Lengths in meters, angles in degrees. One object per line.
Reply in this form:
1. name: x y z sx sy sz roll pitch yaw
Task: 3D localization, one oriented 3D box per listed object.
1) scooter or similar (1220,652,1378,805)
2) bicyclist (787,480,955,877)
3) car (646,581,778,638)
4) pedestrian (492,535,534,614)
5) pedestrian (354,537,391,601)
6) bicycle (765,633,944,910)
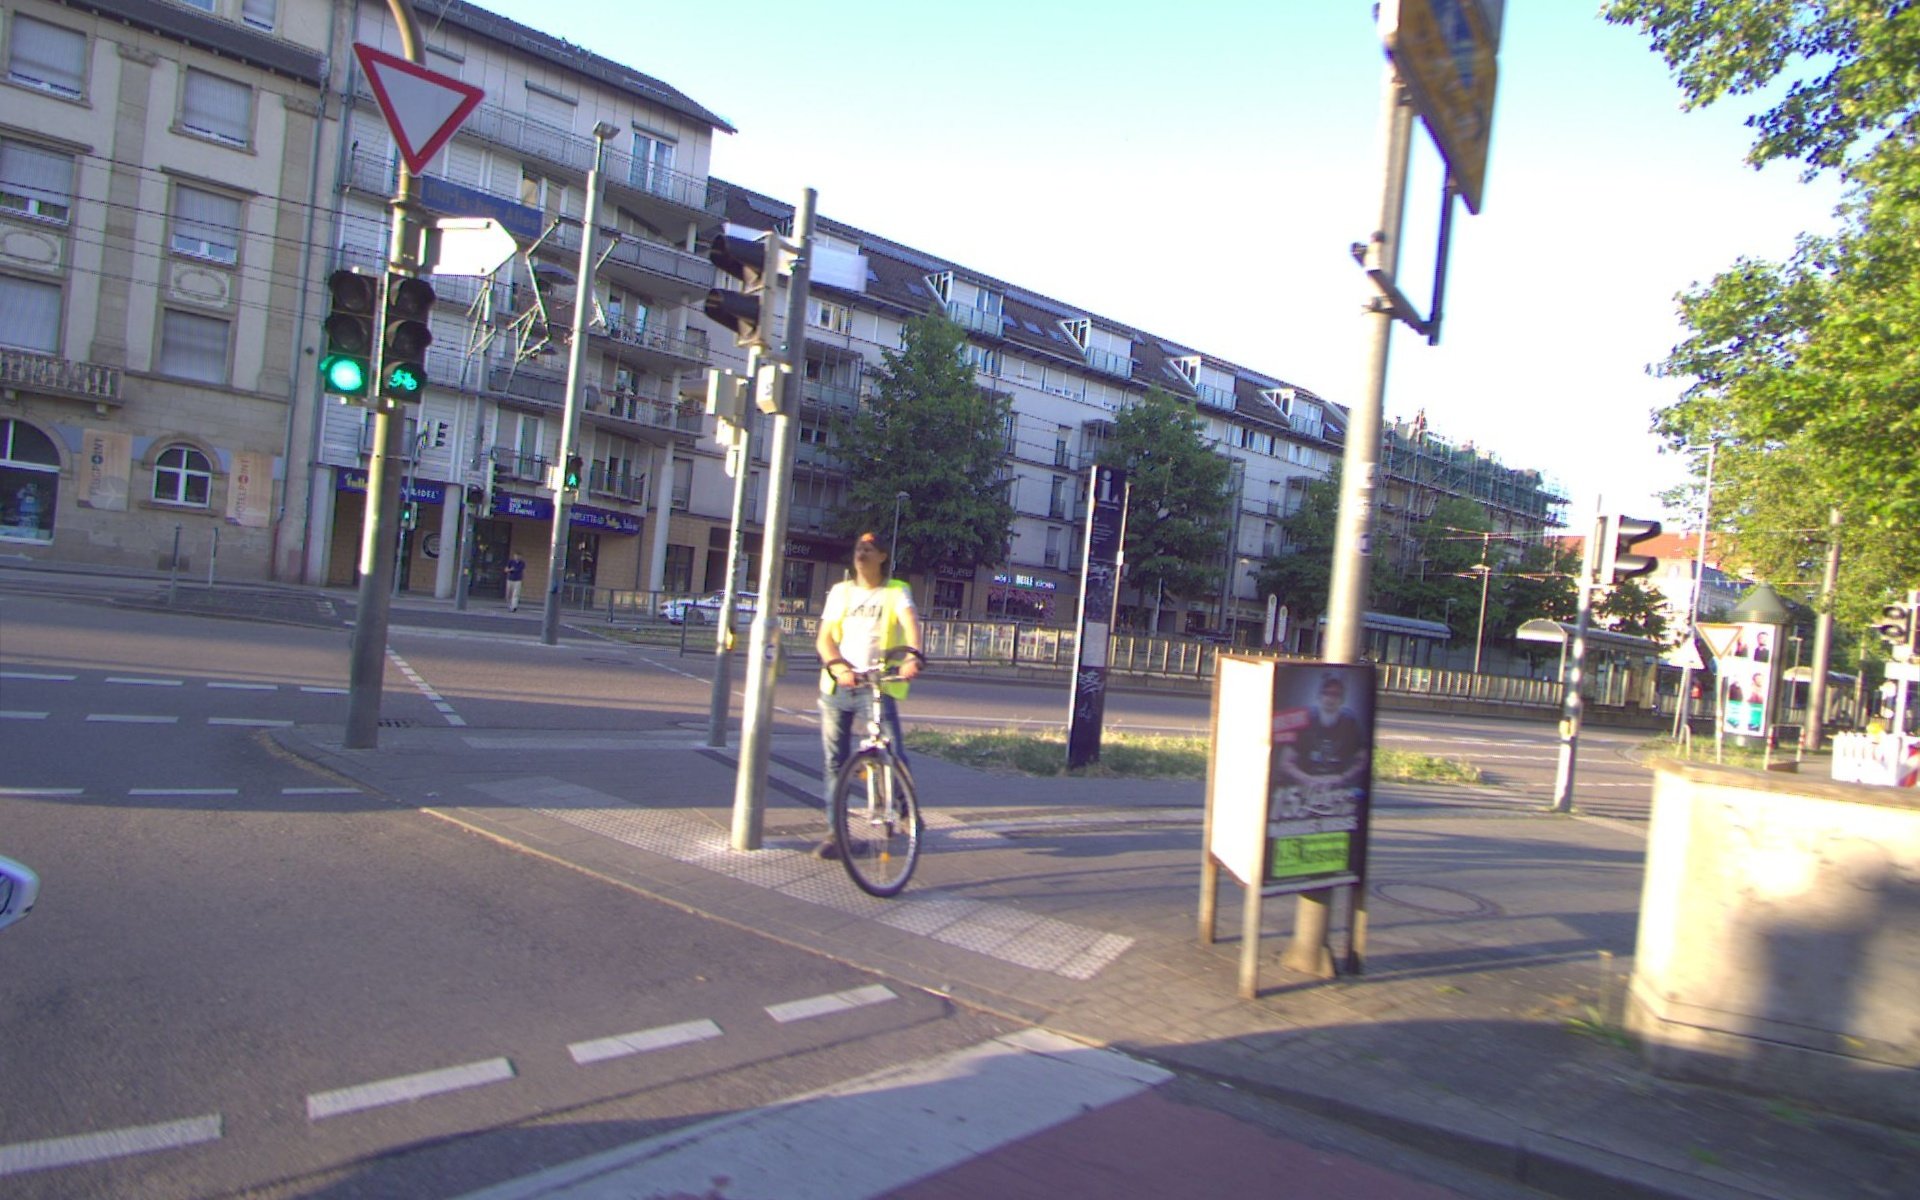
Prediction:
1. scooter or similar: 3.136 1.185 9.315 1.216 1.264 0.513 6 -1 -18
2. bicyclist: -0.429 0.387 5.173 0.616 1.846 0.699 6 -1 0
3. car: -8.559 0.336 34.870 3.961 1.503 1.834 7 -2 -34
4. pedestrian: -13.335 -0.740 30.051 0.808 2.235 0.868 6 -1 -16
5. pedestrian: -17.519 -0.929 29.992 0.781 1.800 0.539 6 -1 -33
6. bicycle: -0.466 0.766 5.338 0.616 1.122 2.073 6 -2 0
